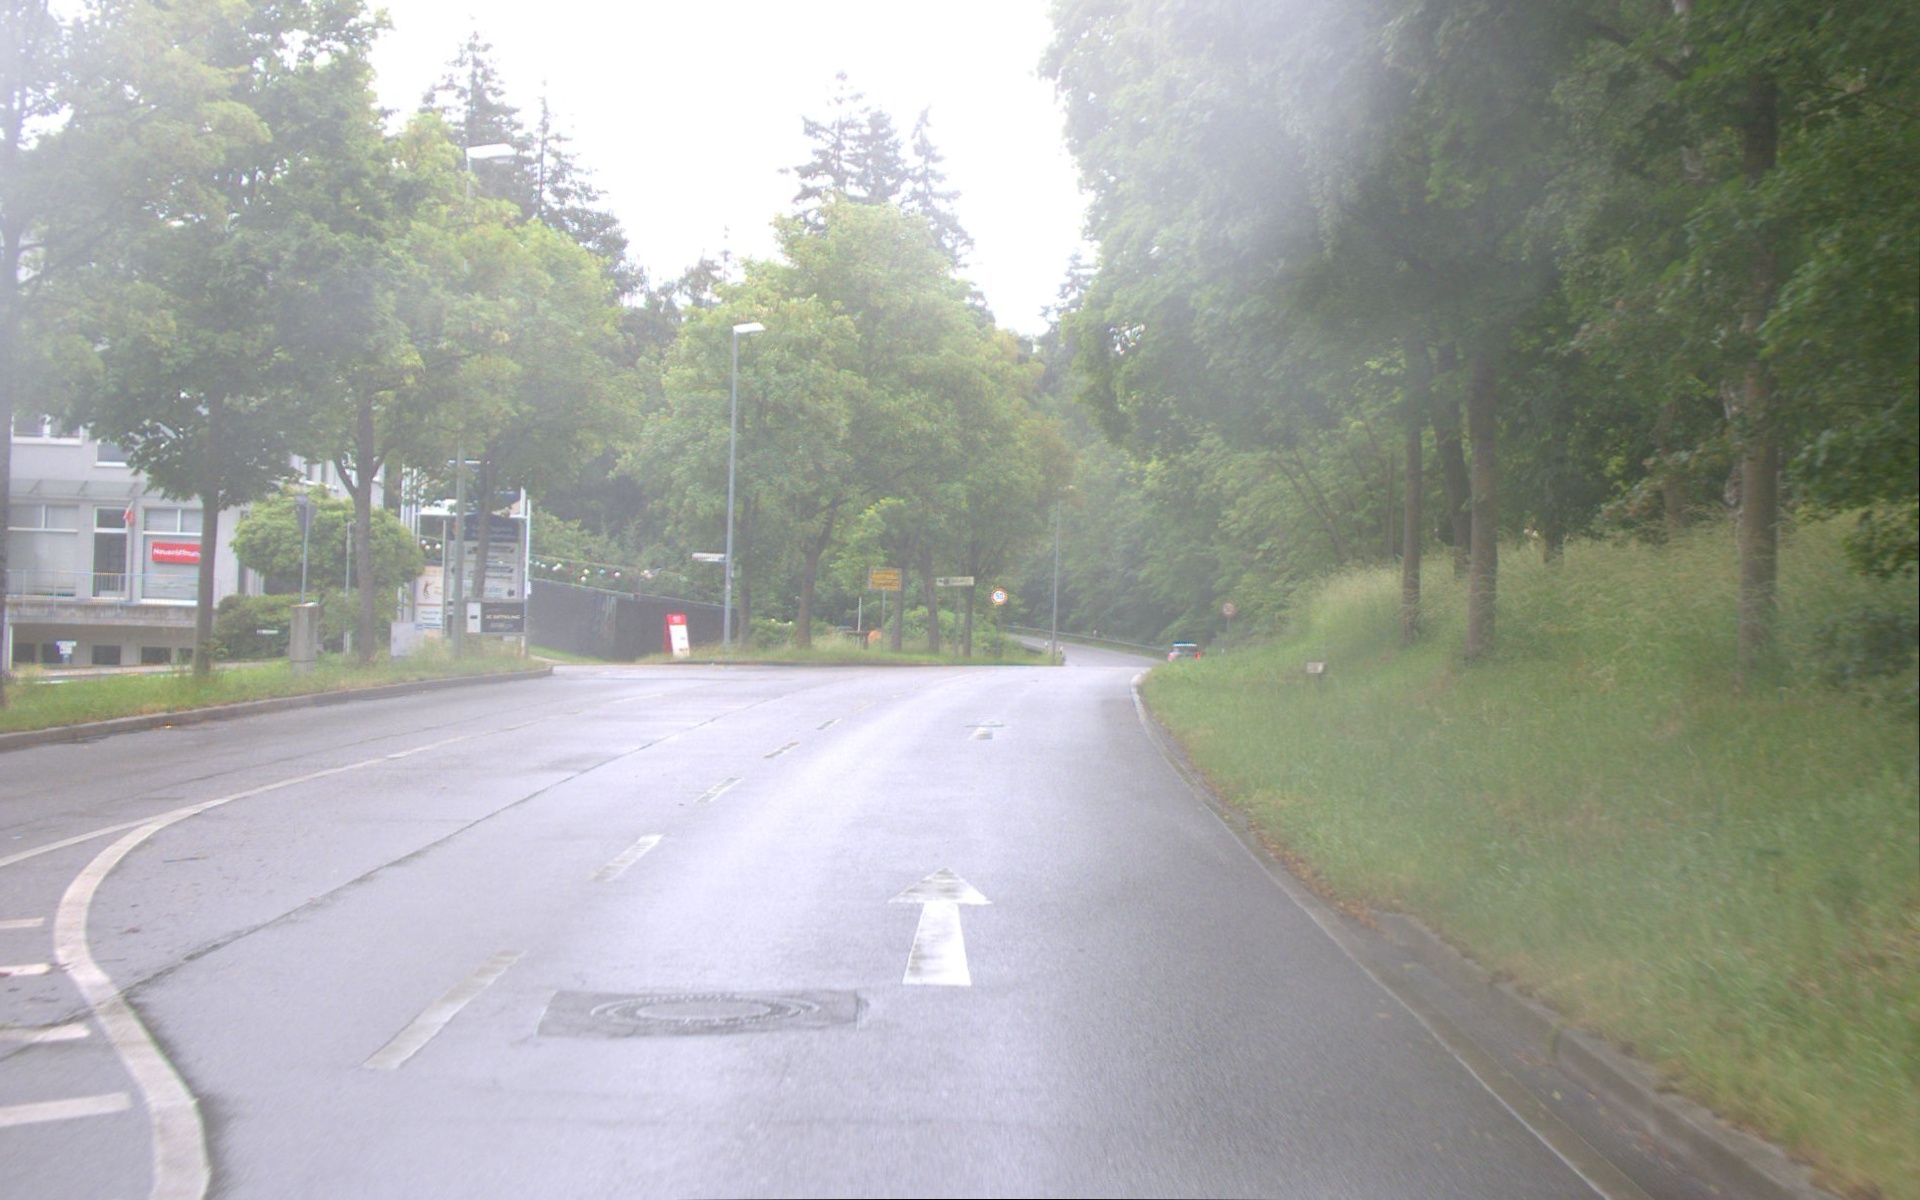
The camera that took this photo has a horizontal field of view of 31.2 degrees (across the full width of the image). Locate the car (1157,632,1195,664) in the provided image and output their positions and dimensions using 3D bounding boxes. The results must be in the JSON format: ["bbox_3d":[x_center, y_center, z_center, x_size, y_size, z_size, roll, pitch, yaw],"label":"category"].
[{"bbox_3d":[10.208,2.267,162.821,1.737,1.505,3.999,-1,-1,3],"label":"car"}]
